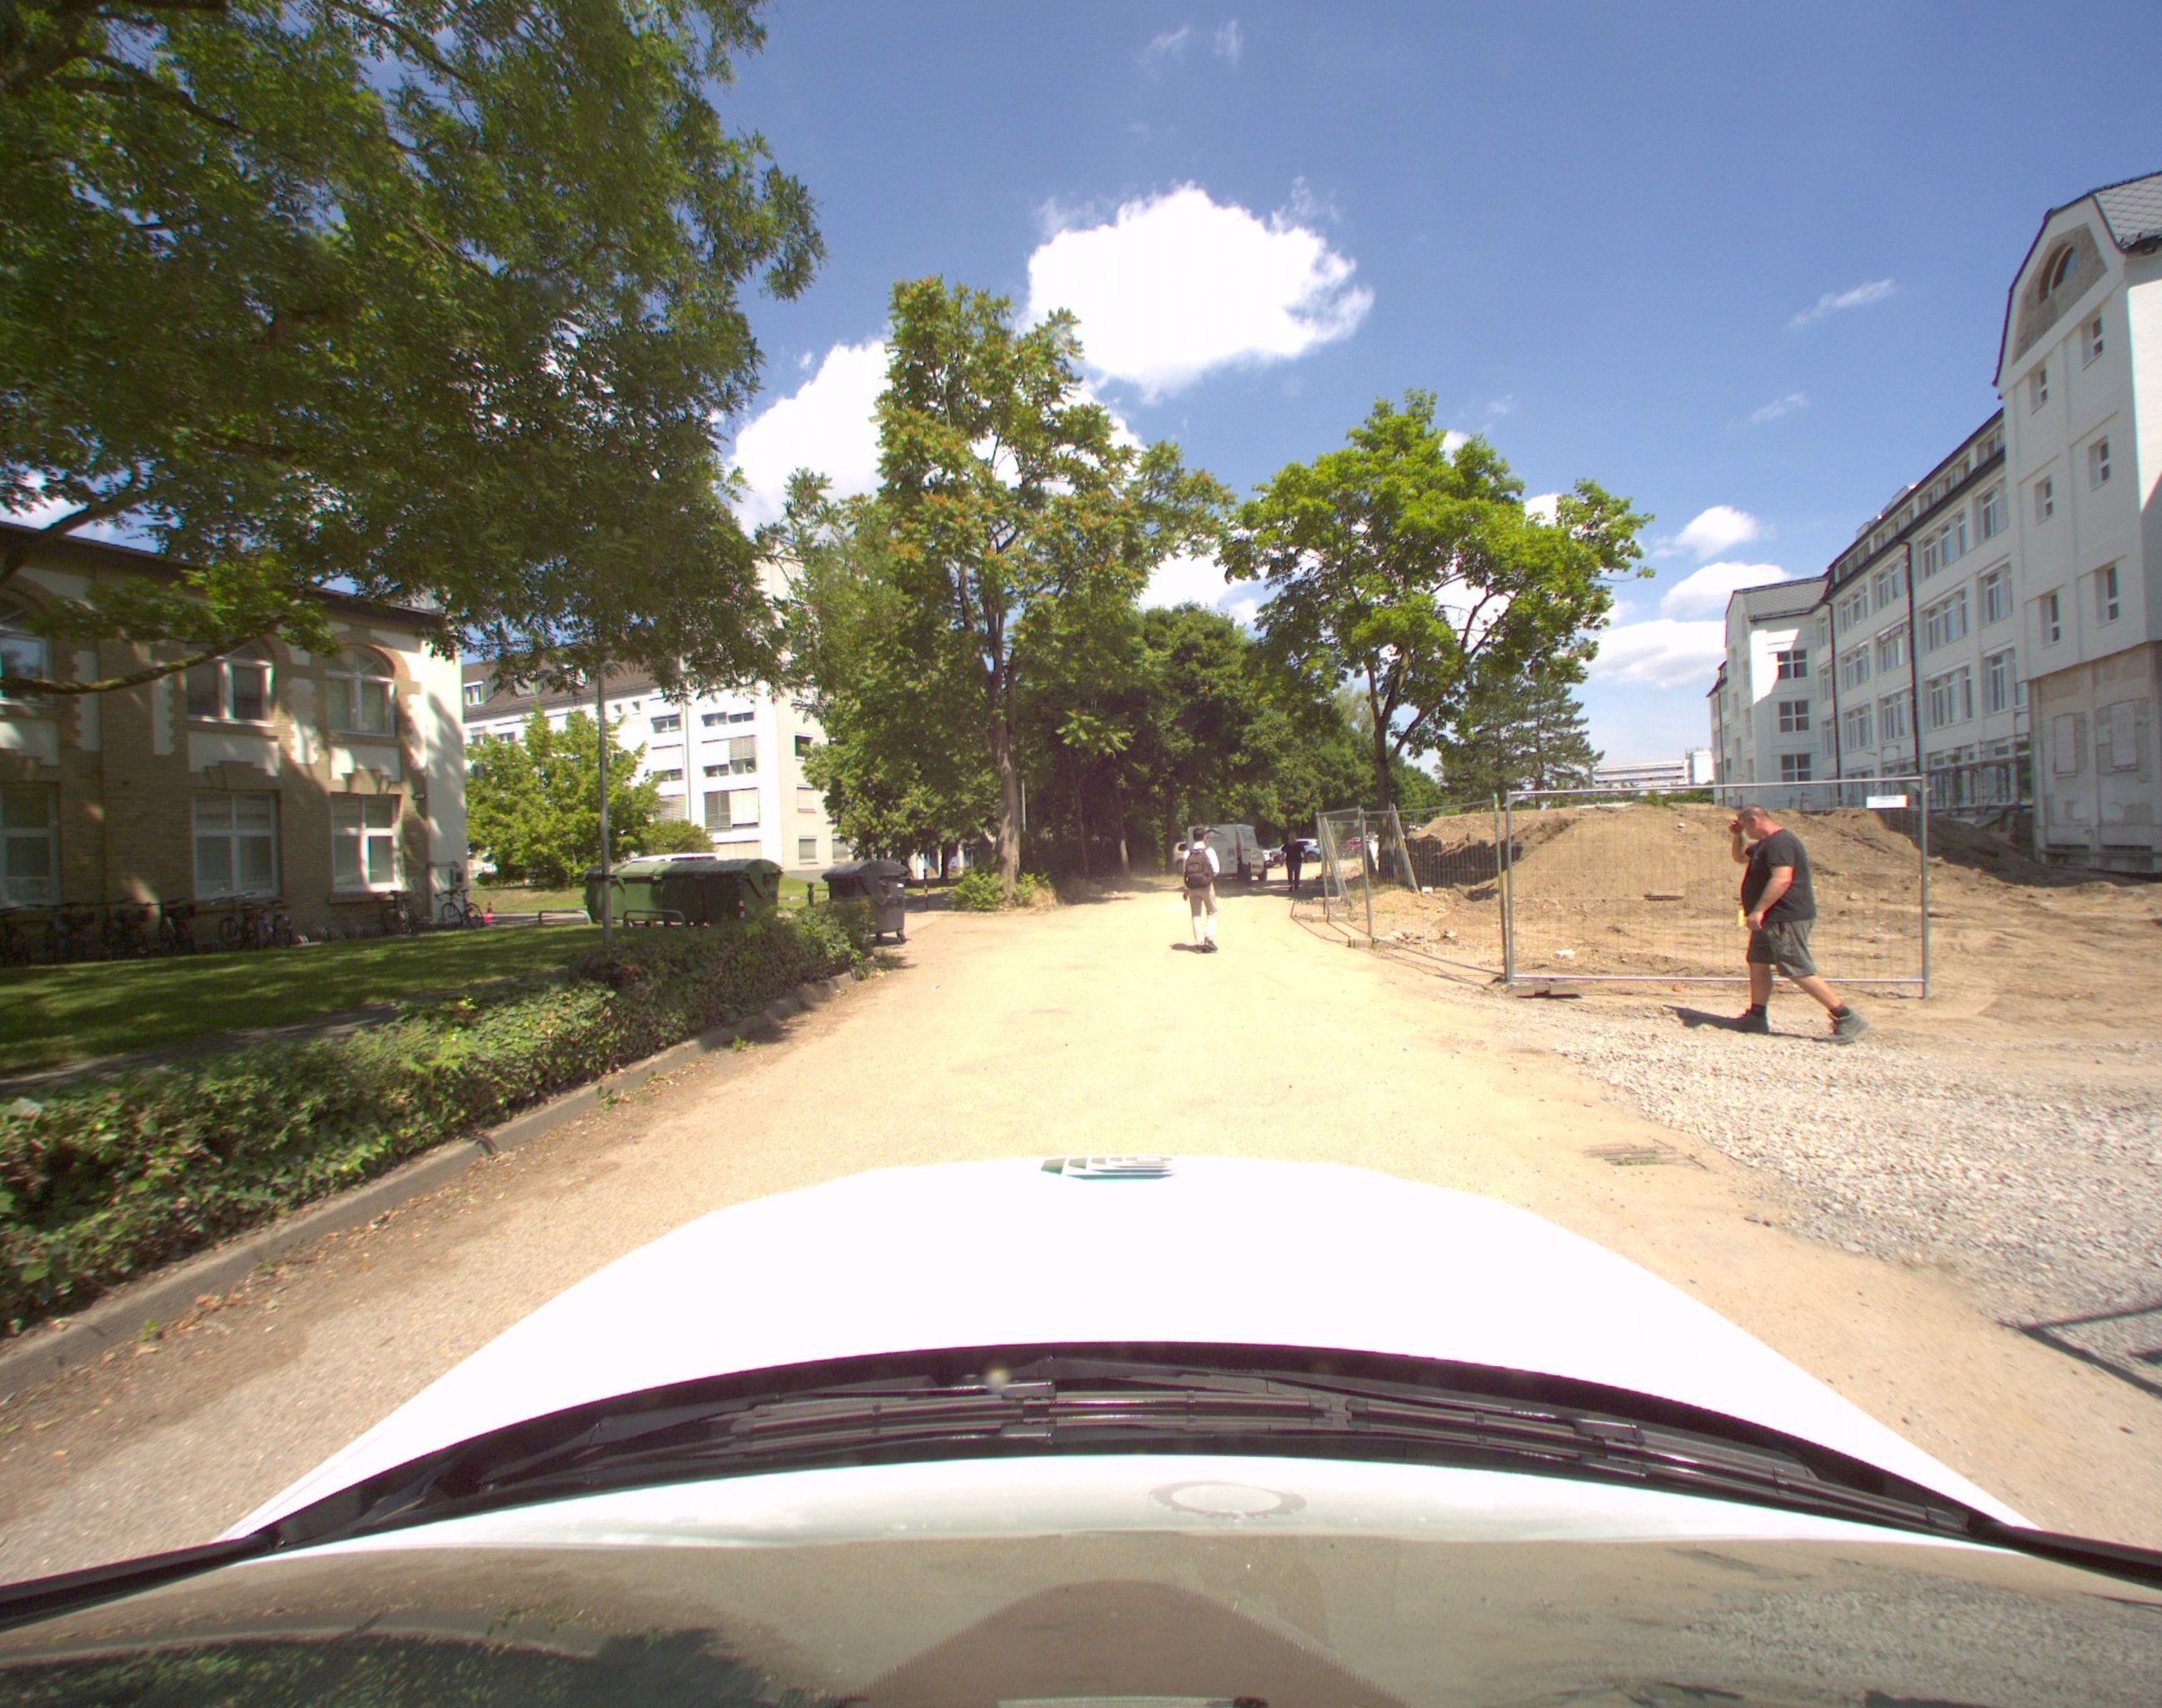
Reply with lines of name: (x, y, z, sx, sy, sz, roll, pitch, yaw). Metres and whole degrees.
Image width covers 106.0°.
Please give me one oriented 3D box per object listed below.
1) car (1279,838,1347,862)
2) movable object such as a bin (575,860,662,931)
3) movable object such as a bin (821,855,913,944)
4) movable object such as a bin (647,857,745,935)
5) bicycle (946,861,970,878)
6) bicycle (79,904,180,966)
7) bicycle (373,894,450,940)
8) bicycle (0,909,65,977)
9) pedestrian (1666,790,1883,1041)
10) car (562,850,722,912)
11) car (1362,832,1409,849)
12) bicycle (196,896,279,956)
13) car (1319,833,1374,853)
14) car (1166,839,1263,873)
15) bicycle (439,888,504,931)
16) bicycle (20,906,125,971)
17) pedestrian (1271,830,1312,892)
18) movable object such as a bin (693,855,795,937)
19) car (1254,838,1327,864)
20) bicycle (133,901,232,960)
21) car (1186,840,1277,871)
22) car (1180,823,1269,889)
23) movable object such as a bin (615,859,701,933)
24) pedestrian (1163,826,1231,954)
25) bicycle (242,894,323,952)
car: (17.176, -0.316, 60.237, 4.462, 1.597, 1.949, -2, 0, 29)
movable object such as a bin: (-10.243, 0.907, 18.040, 1.392, 1.479, 1.054, -2, 1, 30)
movable object such as a bin: (-3.682, 0.743, 13.960, 1.121, 1.394, 1.147, -3, 1, -38)
movable object such as a bin: (-7.792, 0.837, 16.534, 1.345, 1.479, 1.102, -2, 0, 19)
bicycle: (-8.354, 1.050, 55.275, 0.594, 1.084, 1.952, 1, 2, 27)
bicycle: (-17.241, 1.440, 14.744, 2.231, 1.011, 0.611, -2, 0, 25)
bicycle: (-15.157, 1.399, 18.423, 2.230, 0.958, 0.611, -2, 0, 31)
bicycle: (-17.792, 1.448, 13.536, 2.231, 1.011, 0.611, -2, 0, 25)
pedestrian: (5.389, 0.456, 6.410, 0.958, 1.819, 0.873, -2, 0, 11)
car: (-16.021, 0.927, 30.040, 1.974, 2.013, 4.805, -3, 0, 29)
car: (32.334, -1.469, 86.568, 4.463, 1.597, 1.736, -2, 0, 28)
bicycle: (-16.607, 1.388, 16.021, 2.230, 1.082, 0.611, -2, 0, 31)
car: (24.018, -0.986, 73.761, 4.463, 1.597, 1.736, -2, 0, 28)
car: (6.853, 0.127, 41.886, 4.462, 1.609, 2.012, -2, -2, 30)
bicycle: (-14.661, 1.317, 19.584, 1.707, 0.958, 0.618, -2, 0, 31)
bicycle: (-17.506, 1.438, 14.124, 2.231, 1.011, 0.611, -2, 0, 25)
pedestrian: (5.826, 0.171, 22.532, 1.028, 1.650, 1.053, -2, 1, 14)
movable object such as a bin: (-6.602, 0.801, 15.984, 1.308, 1.479, 1.215, -2, 1, 26)
car: (14.191, -0.209, 55.226, 4.463, 1.597, 1.736, -2, 1, 28)
bicycle: (-16.928, 1.410, 15.327, 2.231, 1.011, 0.611, -2, 0, 25)
car: (8.124, 0.075, 44.097, 4.463, 1.531, 1.736, -2, 0, 28)
car: (4.873, 0.028, 27.108, 1.956, 1.947, 4.606, -2, 0, 22)
movable object such as a bin: (-8.974, 0.871, 17.292, 1.246, 1.479, 1.054, -2, 1, 30)
pedestrian: (1.682, 0.489, 11.745, 0.869, 1.729, 1.083, -2, 1, 9)
bicycle: (-16.253, 1.371, 16.564, 2.230, 1.082, 0.611, -2, 0, 31)
